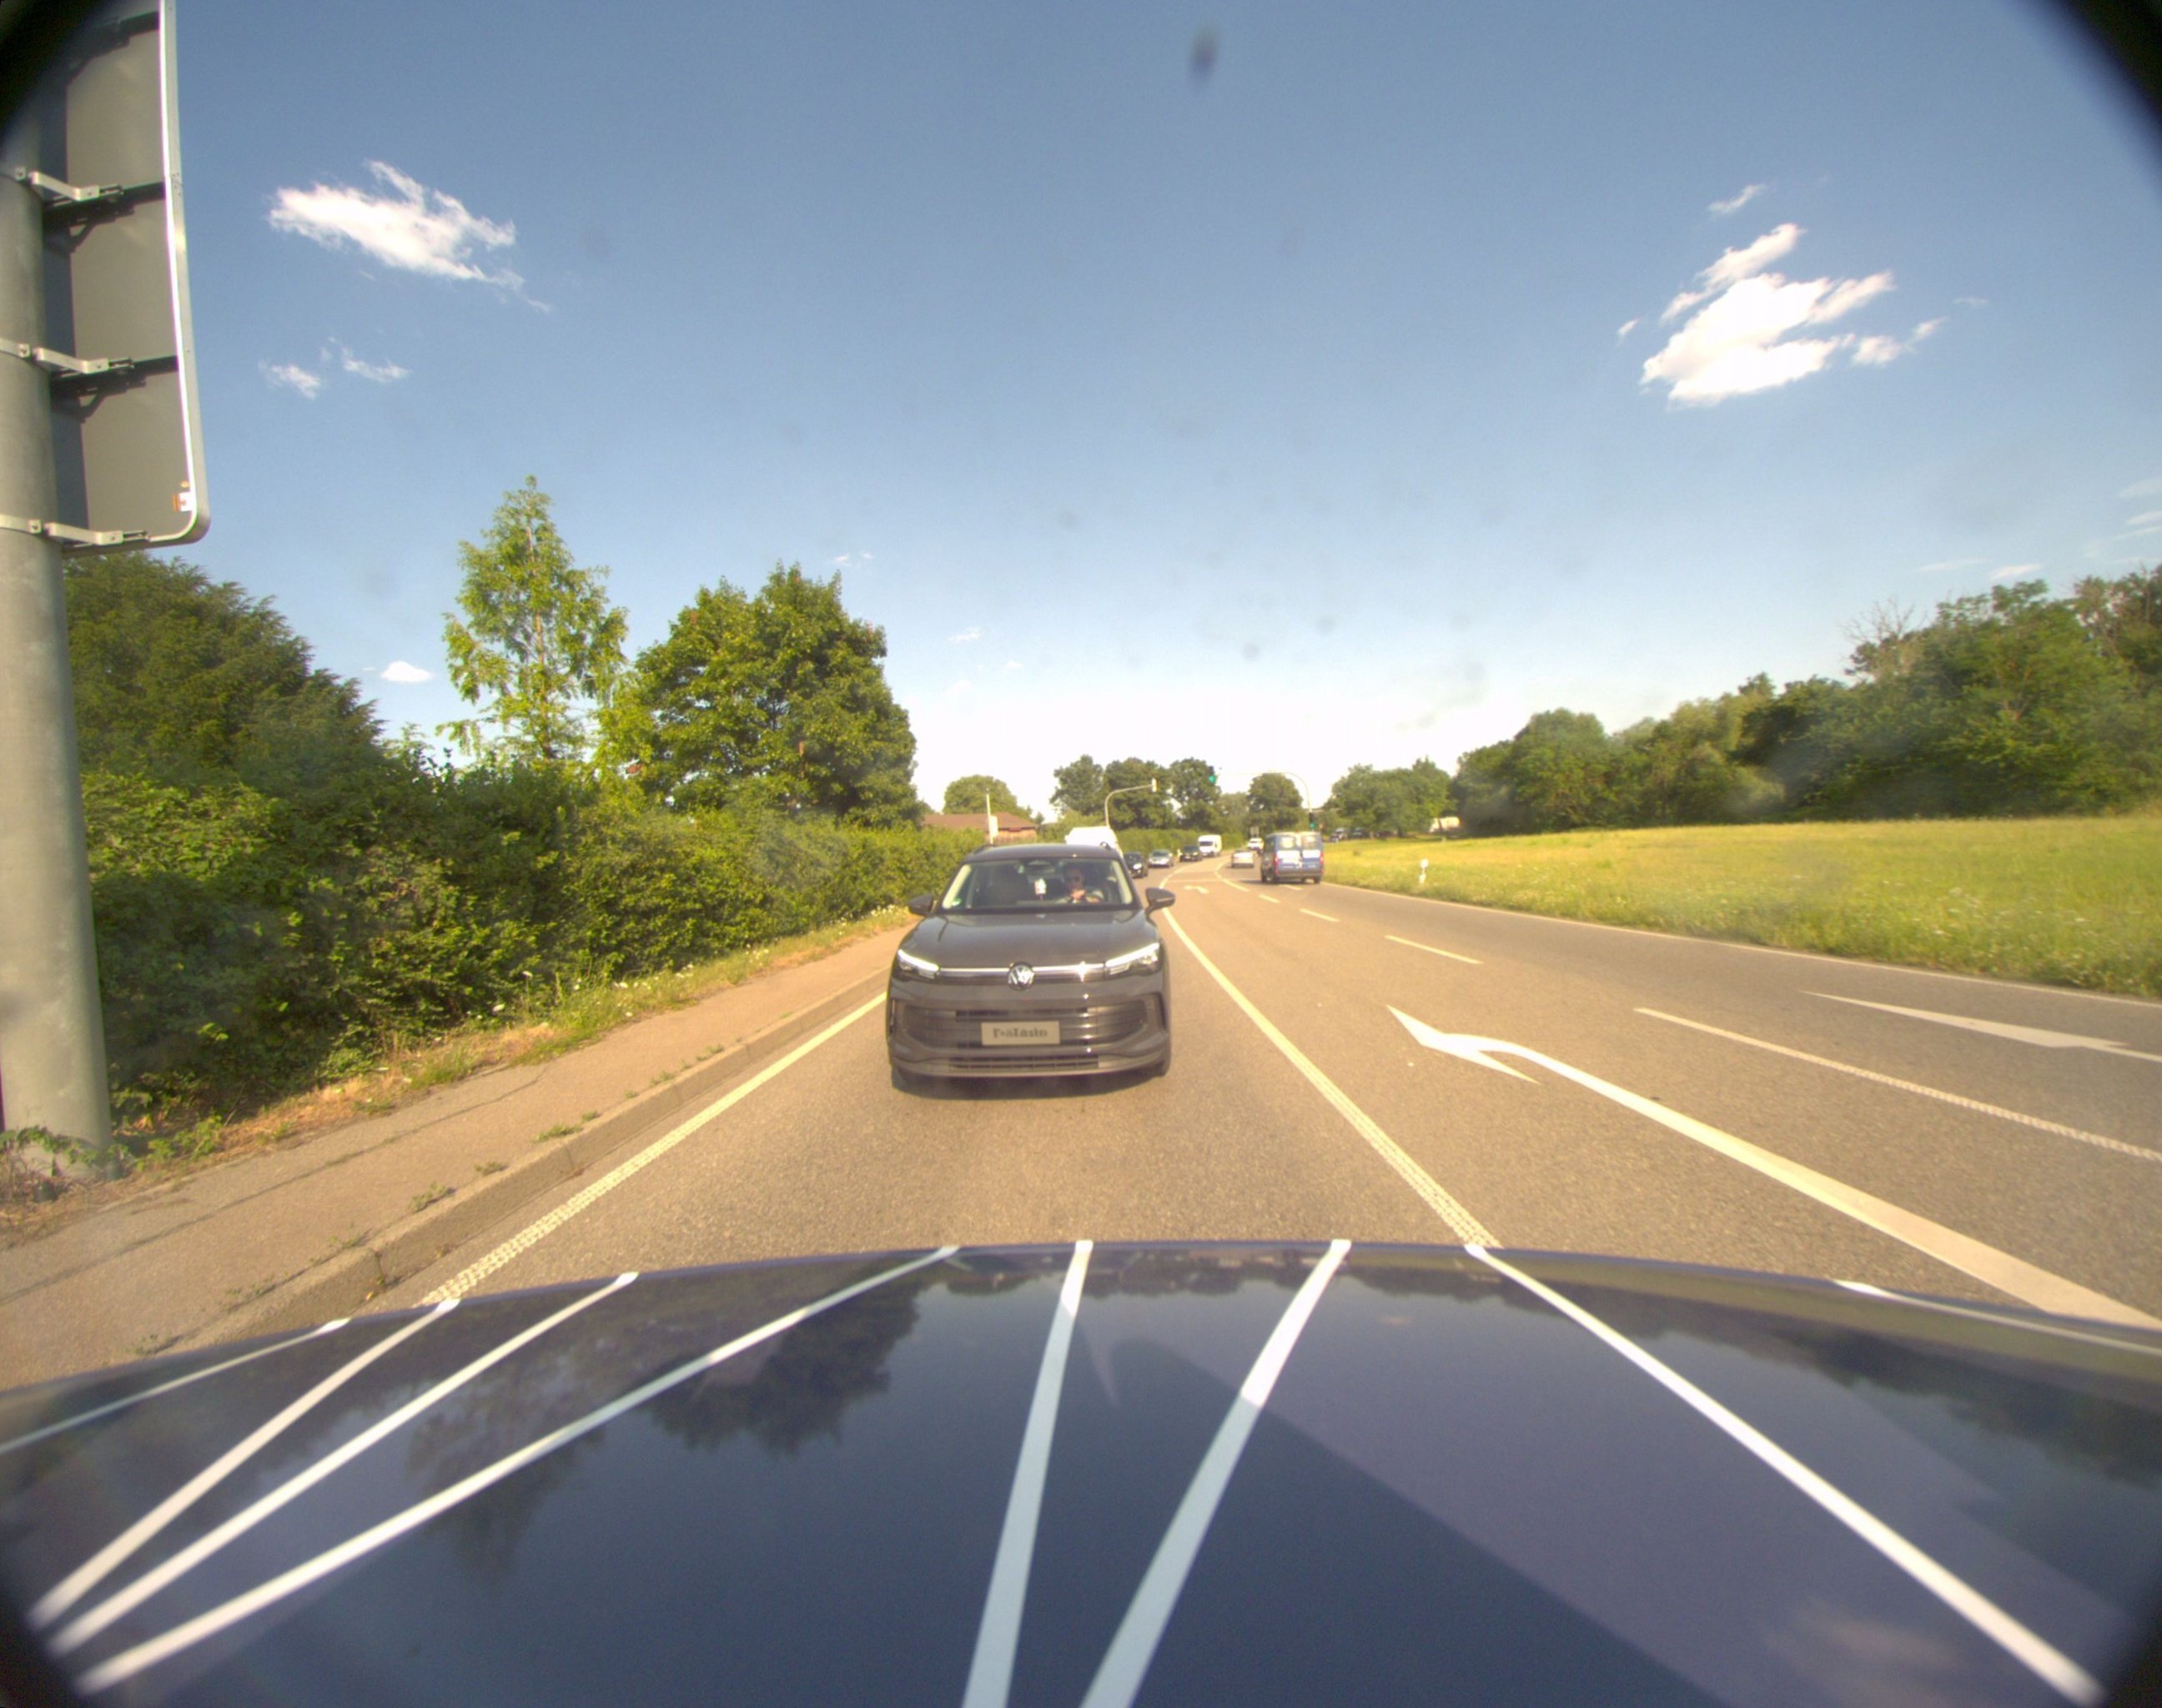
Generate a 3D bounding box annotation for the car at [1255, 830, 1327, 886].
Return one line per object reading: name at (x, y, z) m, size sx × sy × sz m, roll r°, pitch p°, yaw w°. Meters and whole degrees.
car at (8.813, 0.124, 32.335) m, size 2.002 × 2.124 × 4.780 m, roll -3°, pitch 0°, yaw 5°

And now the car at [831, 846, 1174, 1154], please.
car at (-0.376, 0.798, 6.205) m, size 1.865 × 1.633 × 4.000 m, roll -1°, pitch 2°, yaw 2°

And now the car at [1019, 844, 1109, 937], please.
car at (-0.252, 0.679, 16.195) m, size 1.659 × 1.720 × 3.804 m, roll -1°, pitch 1°, yaw 2°

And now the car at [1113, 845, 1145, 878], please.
car at (2.788, 0.380, 43.584) m, size 1.673 × 1.718 × 3.669 m, roll 0°, pitch 2°, yaw 7°

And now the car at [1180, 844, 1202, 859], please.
car at (10.986, -0.255, 75.515) m, size 1.605 × 1.471 × 3.621 m, roll 0°, pitch 1°, yaw 17°

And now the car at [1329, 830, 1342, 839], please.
car at (51.126, -3.884, 152.610) m, size 1.725 × 1.871 × 4.343 m, roll -1°, pitch 0°, yaw 29°

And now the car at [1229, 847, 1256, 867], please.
car at (12.127, 0.204, 57.220) m, size 1.710 × 1.420 × 4.181 m, roll -2°, pitch 0°, yaw 9°

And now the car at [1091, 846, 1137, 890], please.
car at (1.437, 0.543, 31.820) m, size 1.693 × 1.718 × 3.669 m, roll -1°, pitch 1°, yaw 6°

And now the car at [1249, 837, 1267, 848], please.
car at (27.520, -1.850, 118.133) m, size 1.671 × 1.471 × 3.500 m, roll -4°, pitch 0°, yaw 29°

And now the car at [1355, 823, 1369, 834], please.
car at (67.176, -6.047, 181.498) m, size 1.995 × 2.373 × 4.944 m, roll -4°, pitch 1°, yaw 33°

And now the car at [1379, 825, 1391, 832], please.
car at (72.819, -6.058, 181.925) m, size 1.635 × 1.685 × 3.625 m, roll 0°, pitch 2°, yaw 38°

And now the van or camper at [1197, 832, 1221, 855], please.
van or camper at (15.101, -1.236, 89.443) m, size 2.031 × 2.461 × 5.082 m, roll -4°, pitch 0°, yaw 16°

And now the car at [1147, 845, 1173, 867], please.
car at (6.332, 0.120, 60.375) m, size 1.633 × 1.550 × 3.419 m, roll -1°, pitch 2°, yaw 13°

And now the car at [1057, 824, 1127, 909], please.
car at (0.452, 0.321, 23.468) m, size 1.844 × 2.338 × 4.790 m, roll -1°, pitch 1°, yaw 4°
